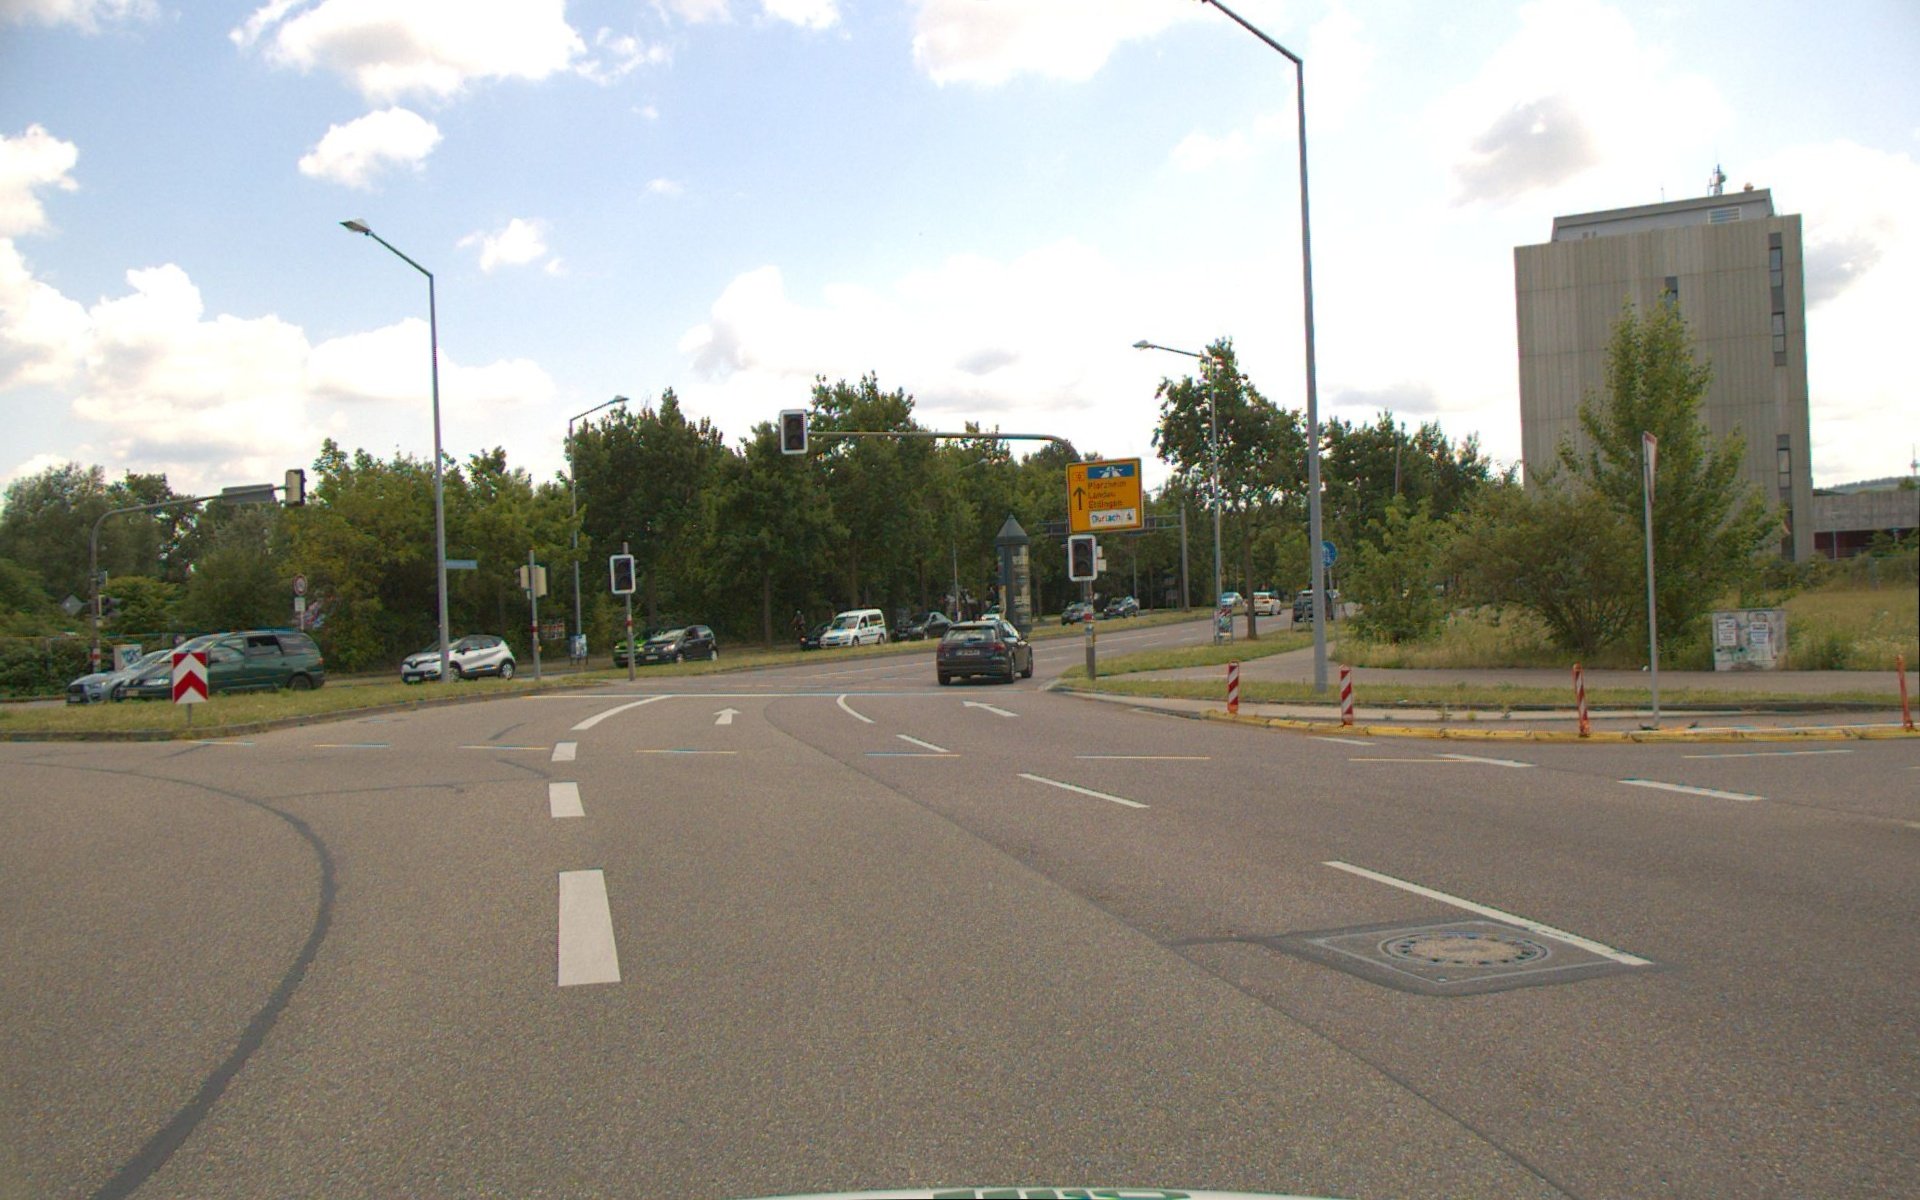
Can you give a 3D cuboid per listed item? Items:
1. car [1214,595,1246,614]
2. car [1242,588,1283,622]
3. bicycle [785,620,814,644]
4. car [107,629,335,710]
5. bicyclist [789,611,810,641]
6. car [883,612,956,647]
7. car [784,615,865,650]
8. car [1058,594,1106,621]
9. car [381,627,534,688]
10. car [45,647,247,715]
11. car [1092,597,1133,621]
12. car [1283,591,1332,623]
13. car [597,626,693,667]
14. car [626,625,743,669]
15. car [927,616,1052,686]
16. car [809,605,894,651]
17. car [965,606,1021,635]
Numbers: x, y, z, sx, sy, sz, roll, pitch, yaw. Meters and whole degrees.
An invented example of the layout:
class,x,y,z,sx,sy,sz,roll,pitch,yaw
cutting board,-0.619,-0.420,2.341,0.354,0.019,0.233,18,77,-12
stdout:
class,x,y,z,sx,sy,sz,roll,pitch,yaw
car,23.261,0.382,142.462,1.727,1.465,4.309,-3,0,22
car,19.304,0.297,105.397,1.952,2.049,4.001,-1,0,19
bicycle,-8.709,1.752,89.962,0.745,1.240,2.016,0,0,22
car,-17.187,1.594,38.679,1.874,1.620,4.579,-3,-1,33
bicyclist,-8.706,1.393,89.936,0.813,1.592,0.883,0,0,22
car,-1.963,1.449,81.933,1.800,1.506,4.753,-4,-1,22
car,-6.427,1.540,79.143,1.802,1.468,4.415,-5,-1,26
car,8.123,0.503,109.424,1.687,1.618,5.013,-3,-1,22
car,-16.254,1.829,53.771,1.955,1.716,4.782,-2,0,27
car,-20.432,2.014,41.663,1.871,1.448,4.180,-3,0,32
car,11.562,0.687,124.904,1.727,1.604,5.032,-3,0,21
car,19.287,0.385,91.592,1.952,1.654,4.310,-2,0,21
car,-12.188,1.795,64.309,1.583,1.371,4.170,-4,-1,22
car,-10.017,1.703,60.453,1.801,1.333,4.785,-5,-1,25
car,0.747,1.156,38.729,1.649,1.489,4.000,-1,0,21
car,-4.821,1.241,74.174,1.801,1.830,4.787,-4,-1,22
car,2.033,1.217,100.482,1.871,1.567,4.368,-3,0,22
